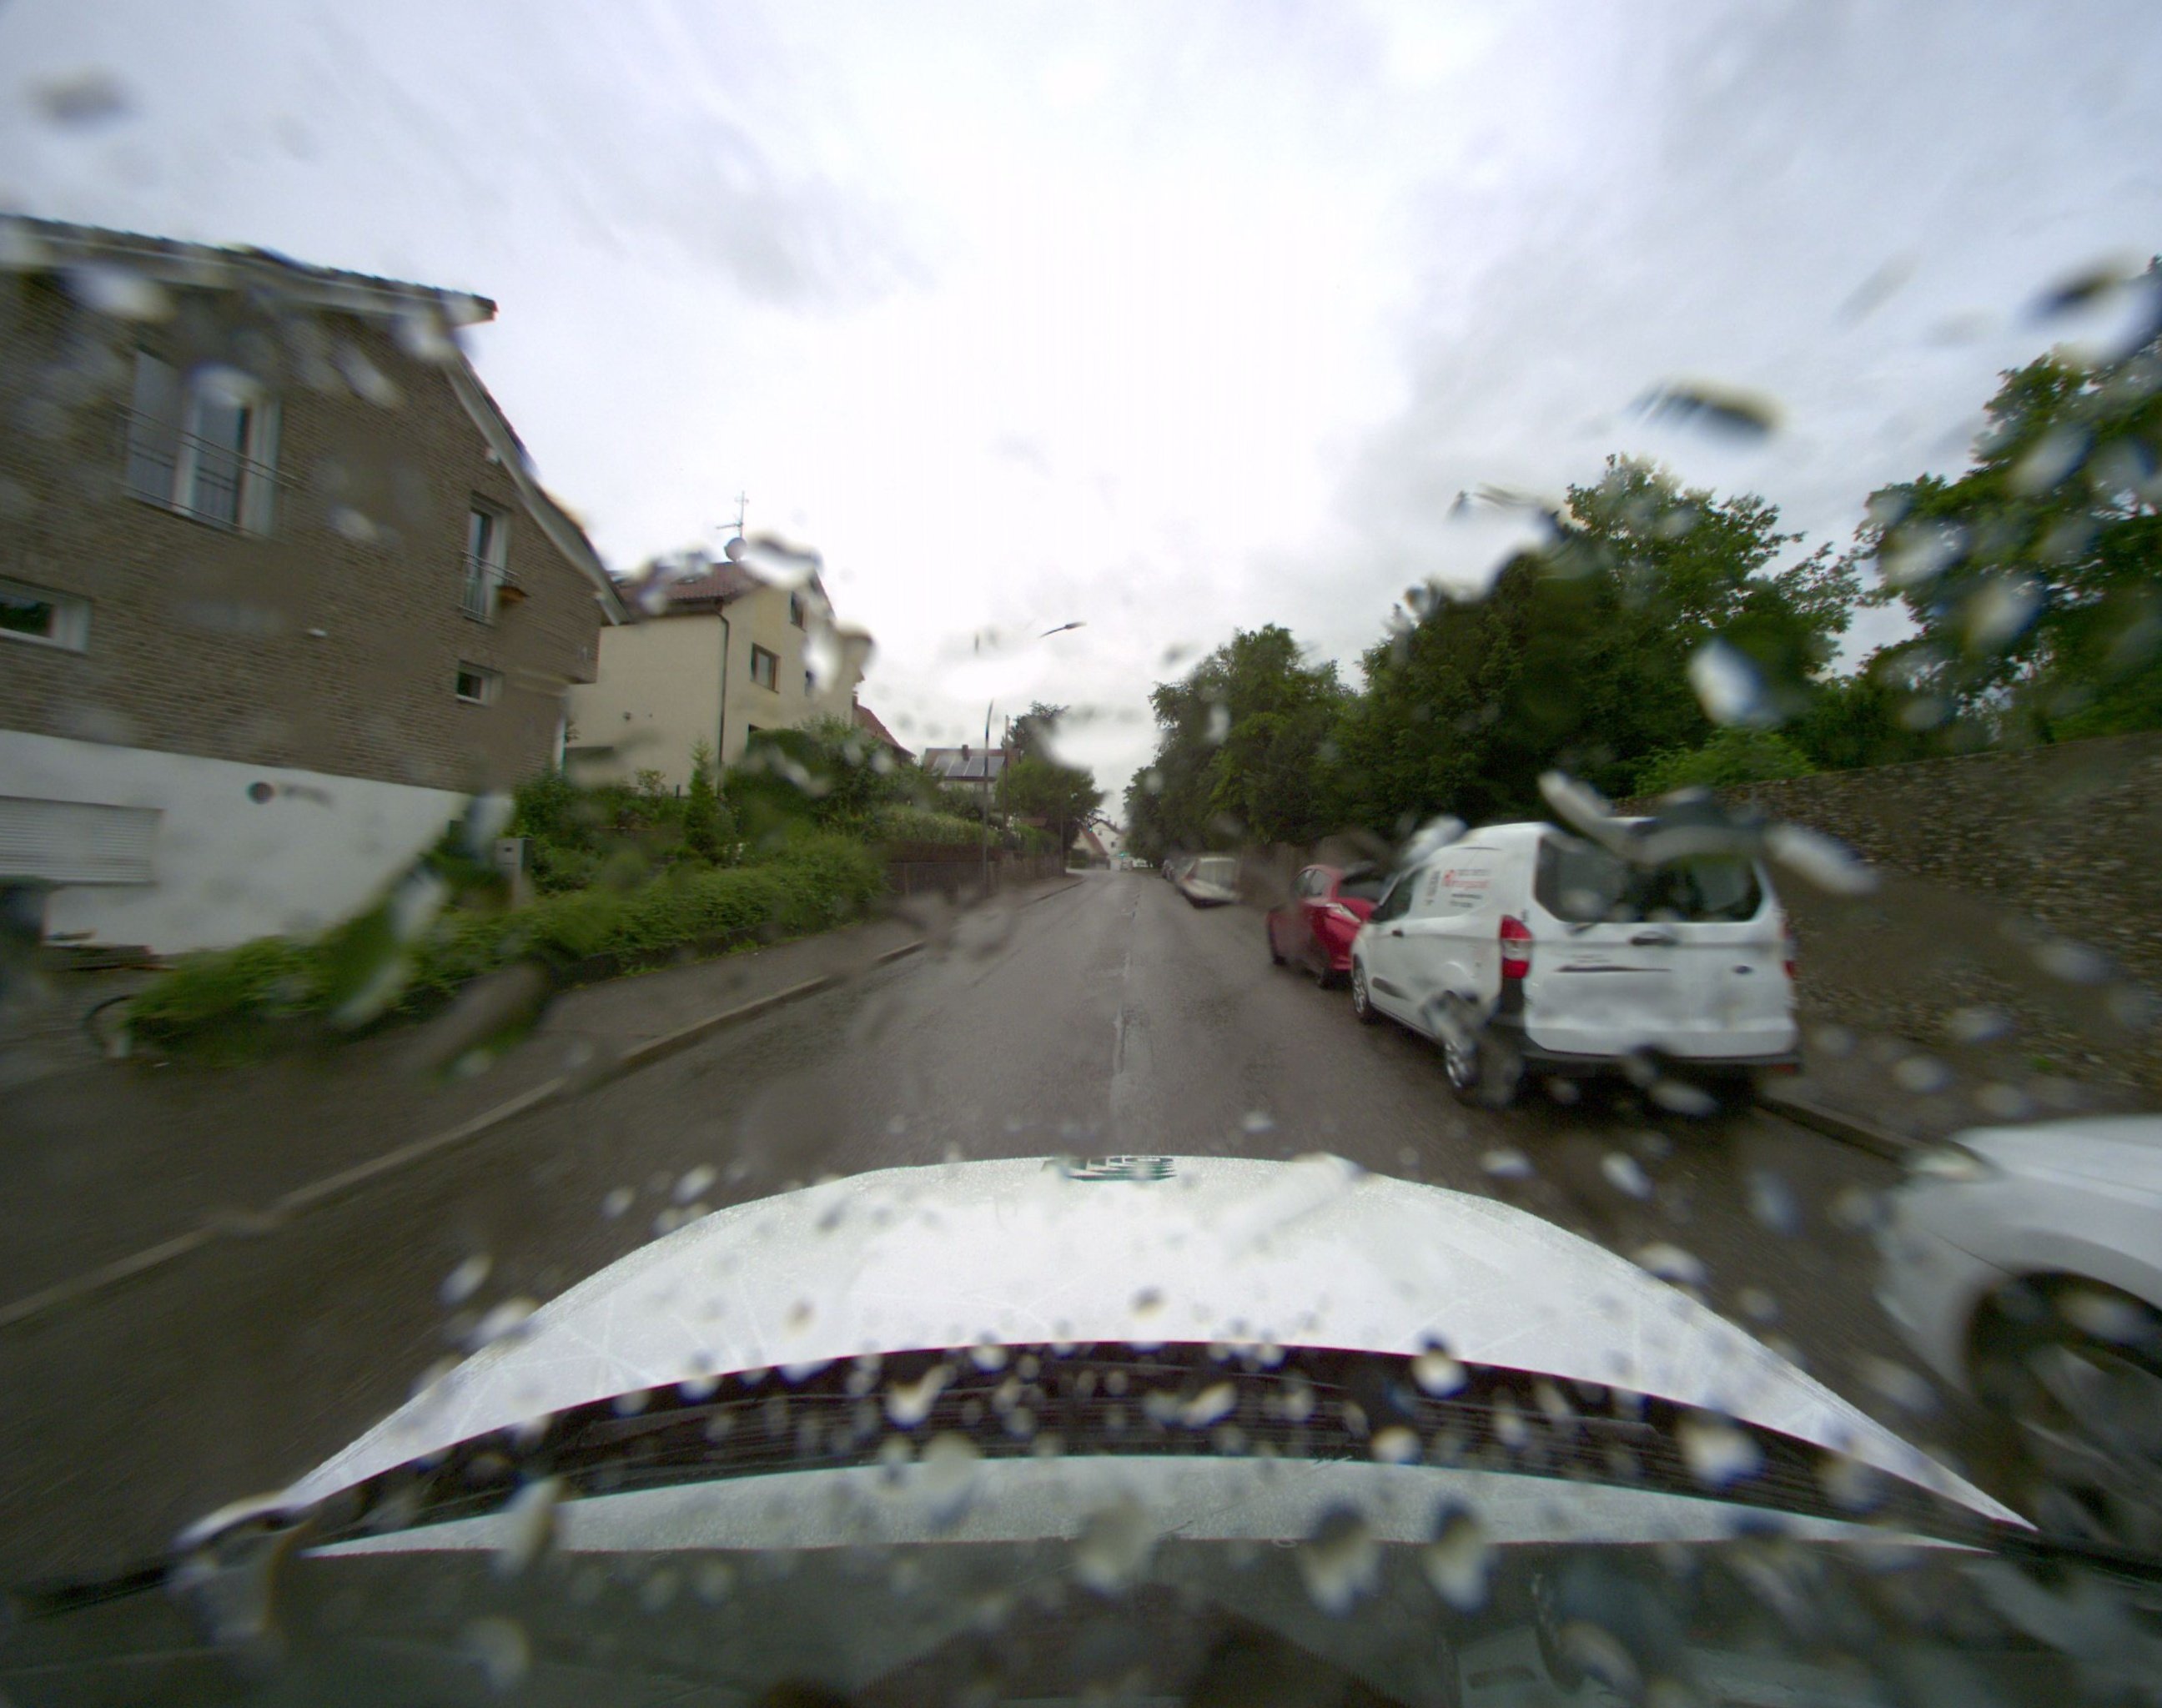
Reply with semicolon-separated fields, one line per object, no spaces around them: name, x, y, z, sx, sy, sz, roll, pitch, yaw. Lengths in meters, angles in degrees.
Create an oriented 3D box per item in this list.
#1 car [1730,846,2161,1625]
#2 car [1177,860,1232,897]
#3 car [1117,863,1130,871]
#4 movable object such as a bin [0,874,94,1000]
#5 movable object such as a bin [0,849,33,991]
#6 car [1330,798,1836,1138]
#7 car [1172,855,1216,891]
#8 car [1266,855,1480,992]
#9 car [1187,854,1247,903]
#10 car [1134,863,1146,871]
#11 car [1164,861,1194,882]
car;2.825;0.719;0.593;1.639;1.462;4.002;1;-1;2
car;5.124;1.009;34.365;1.758;1.447;4.698;0;-1;2
car;7.579;2.315;145.227;1.896;1.442;4.008;0;-1;8
movable object such as a bin;-9.558;0.724;7.308;0.556;1.074;0.715;-1;-1;15
movable object such as a bin;-10.238;0.610;7.501;0.493;1.302;0.558;0;-1;15
car;3.223;0.606;6.298;1.629;1.741;4.140;0;-1;4
car;5.591;0.943;40.633;1.735;1.668;4.499;0;-1;2
car;3.606;0.767;10.734;1.578;1.455;3.665;-1;0;2
car;4.658;0.825;28.296;1.806;1.574;3.886;0;-1;6
car;10.544;2.335;144.600;1.896;1.442;4.008;0;-1;8
car;6.517;1.128;54.324;1.645;1.372;4.183;0;-1;2
